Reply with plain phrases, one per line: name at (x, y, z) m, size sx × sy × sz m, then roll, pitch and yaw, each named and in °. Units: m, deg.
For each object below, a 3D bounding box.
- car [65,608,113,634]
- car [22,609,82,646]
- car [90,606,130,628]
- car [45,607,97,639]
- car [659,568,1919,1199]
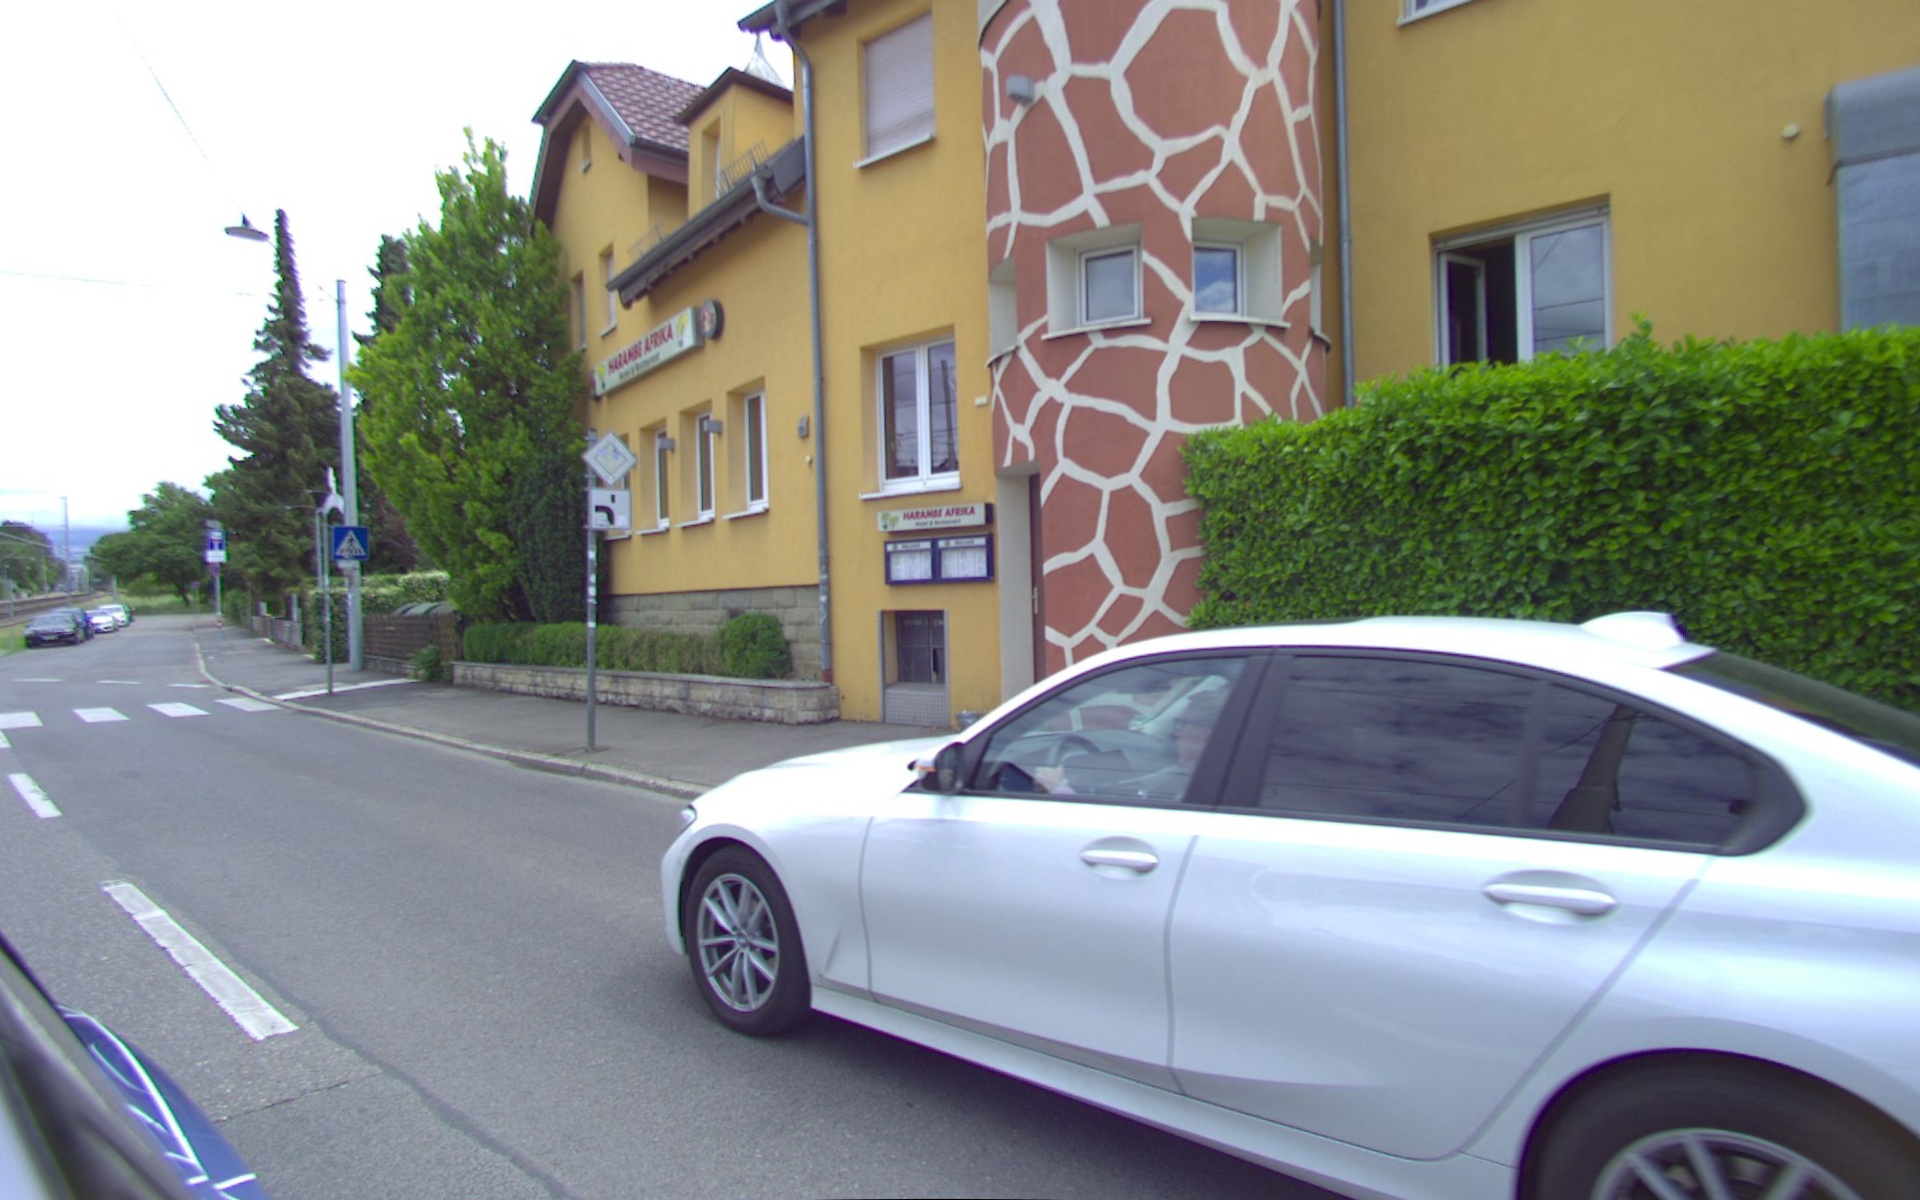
car at (-51.923, 1.232, 60.385) m, size 1.825 × 1.386 × 4.009 m, roll -3°, pitch 1°, yaw -37°
car at (-41.804, 1.236, 46.666) m, size 1.794 × 1.512 × 4.127 m, roll -3°, pitch 2°, yaw -39°
car at (-58.377, 1.175, 69.541) m, size 1.825 × 1.386 × 4.009 m, roll -3°, pitch 1°, yaw -37°
car at (-45.419, 1.155, 51.777) m, size 1.794 × 1.512 × 4.127 m, roll -3°, pitch 2°, yaw -39°
car at (1.191, 0.699, 2.929) m, size 4.459 × 1.430 × 1.800 m, roll -1°, pitch -2°, yaw 40°
